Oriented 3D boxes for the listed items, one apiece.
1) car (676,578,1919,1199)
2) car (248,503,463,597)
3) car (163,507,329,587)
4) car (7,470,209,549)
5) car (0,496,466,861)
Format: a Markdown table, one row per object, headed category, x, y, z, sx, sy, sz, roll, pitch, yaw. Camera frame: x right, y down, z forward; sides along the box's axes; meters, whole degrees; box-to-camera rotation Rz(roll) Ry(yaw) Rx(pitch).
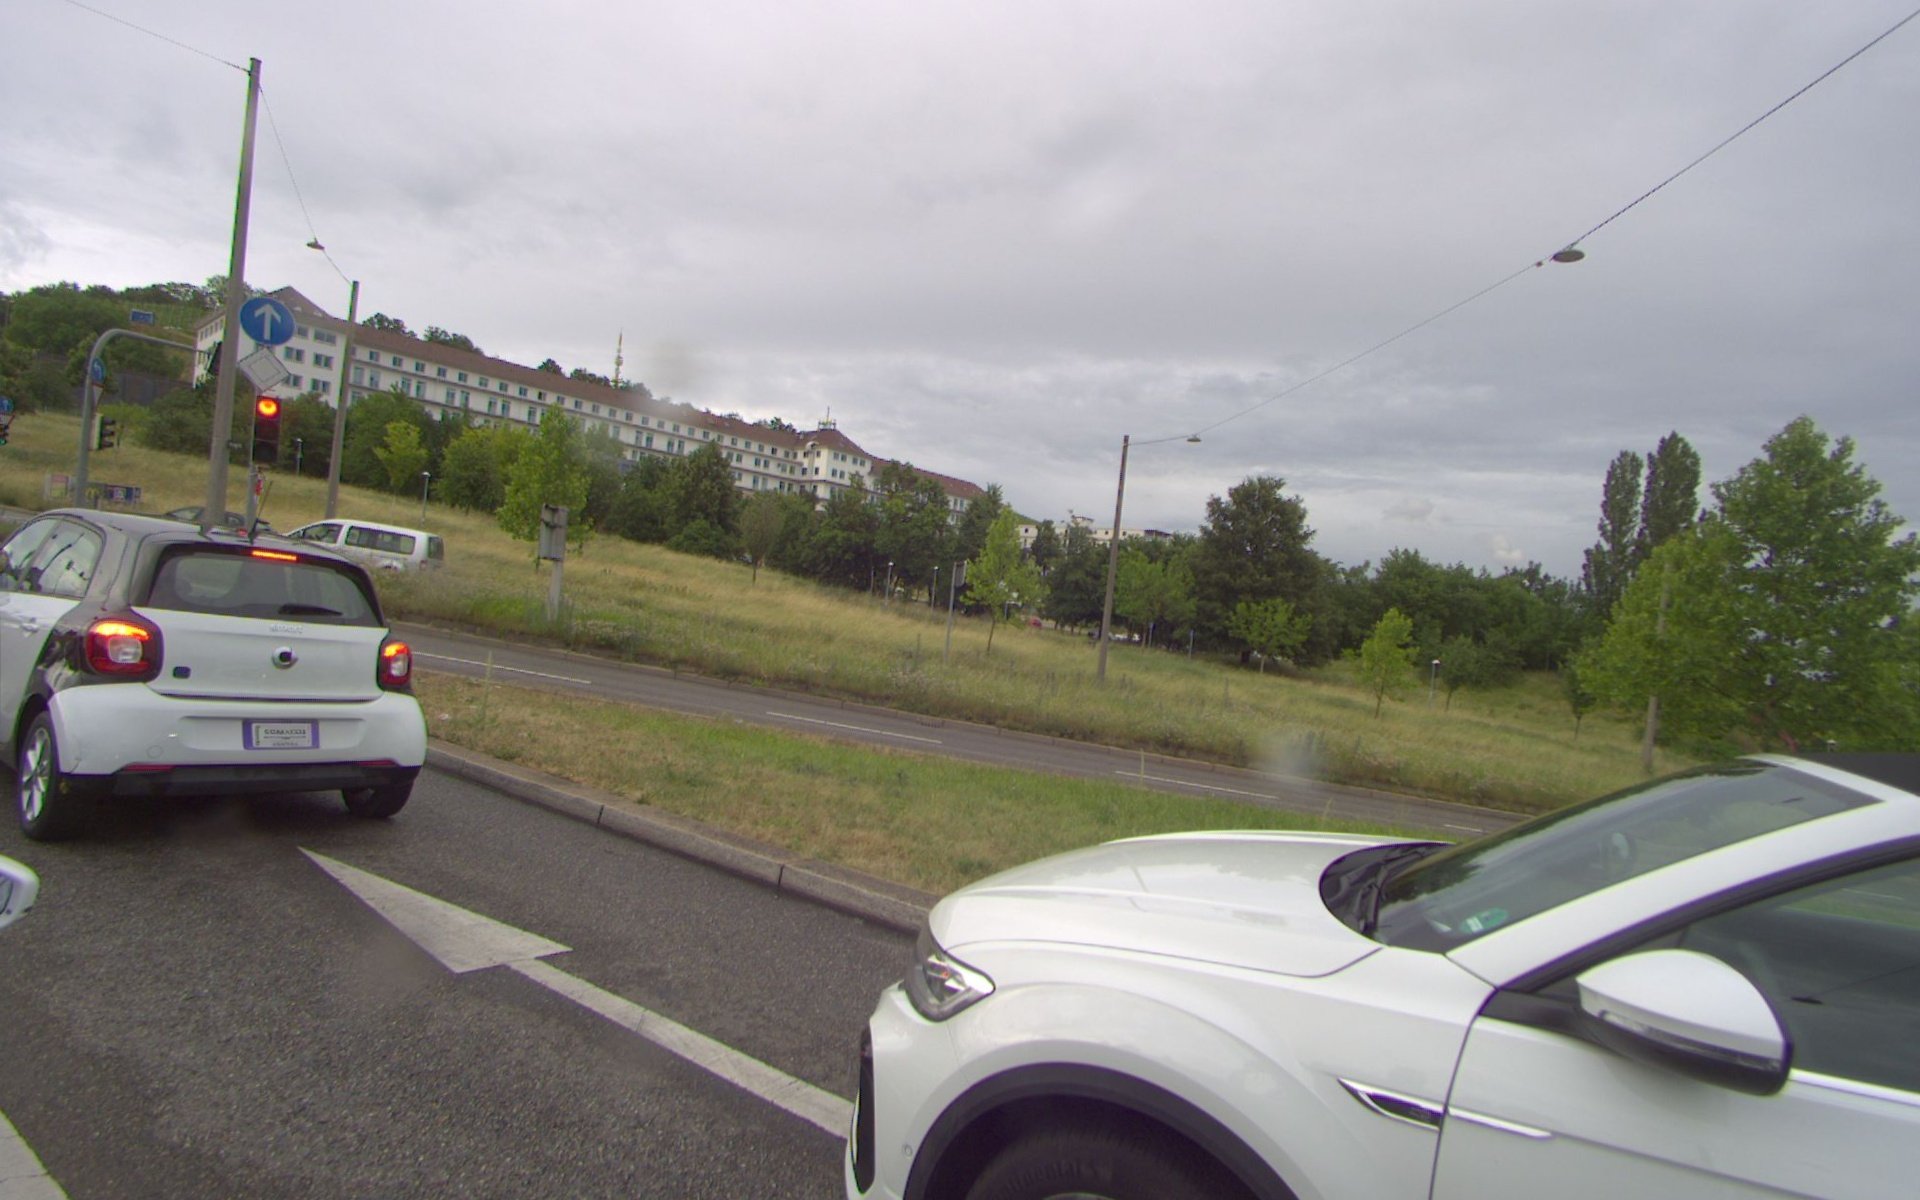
| category | x | y | z | sx | sy | sz | roll | pitch | yaw |
| --- | --- | --- | --- | --- | --- | --- | --- | --- | --- |
| car | 1.701 | 1.005 | 1.778 | 4.156 | 1.571 | 1.718 | 6 | -2 | 28 |
| car | -16.721 | -1.333 | 28.046 | 4.619 | 1.871 | 1.820 | 7 | -2 | -9 |
| car | -24.174 | -1.760 | 34.215 | 3.932 | 2.037 | 1.998 | 7 | -2 | -9 |
| car | -28.512 | -3.001 | 33.800 | 4.766 | 1.636 | 2.000 | 9 | -2 | -4 |
| car | -4.678 | 0.298 | 5.911 | 3.397 | 1.520 | 1.659 | 6 | -2 | 36 |
